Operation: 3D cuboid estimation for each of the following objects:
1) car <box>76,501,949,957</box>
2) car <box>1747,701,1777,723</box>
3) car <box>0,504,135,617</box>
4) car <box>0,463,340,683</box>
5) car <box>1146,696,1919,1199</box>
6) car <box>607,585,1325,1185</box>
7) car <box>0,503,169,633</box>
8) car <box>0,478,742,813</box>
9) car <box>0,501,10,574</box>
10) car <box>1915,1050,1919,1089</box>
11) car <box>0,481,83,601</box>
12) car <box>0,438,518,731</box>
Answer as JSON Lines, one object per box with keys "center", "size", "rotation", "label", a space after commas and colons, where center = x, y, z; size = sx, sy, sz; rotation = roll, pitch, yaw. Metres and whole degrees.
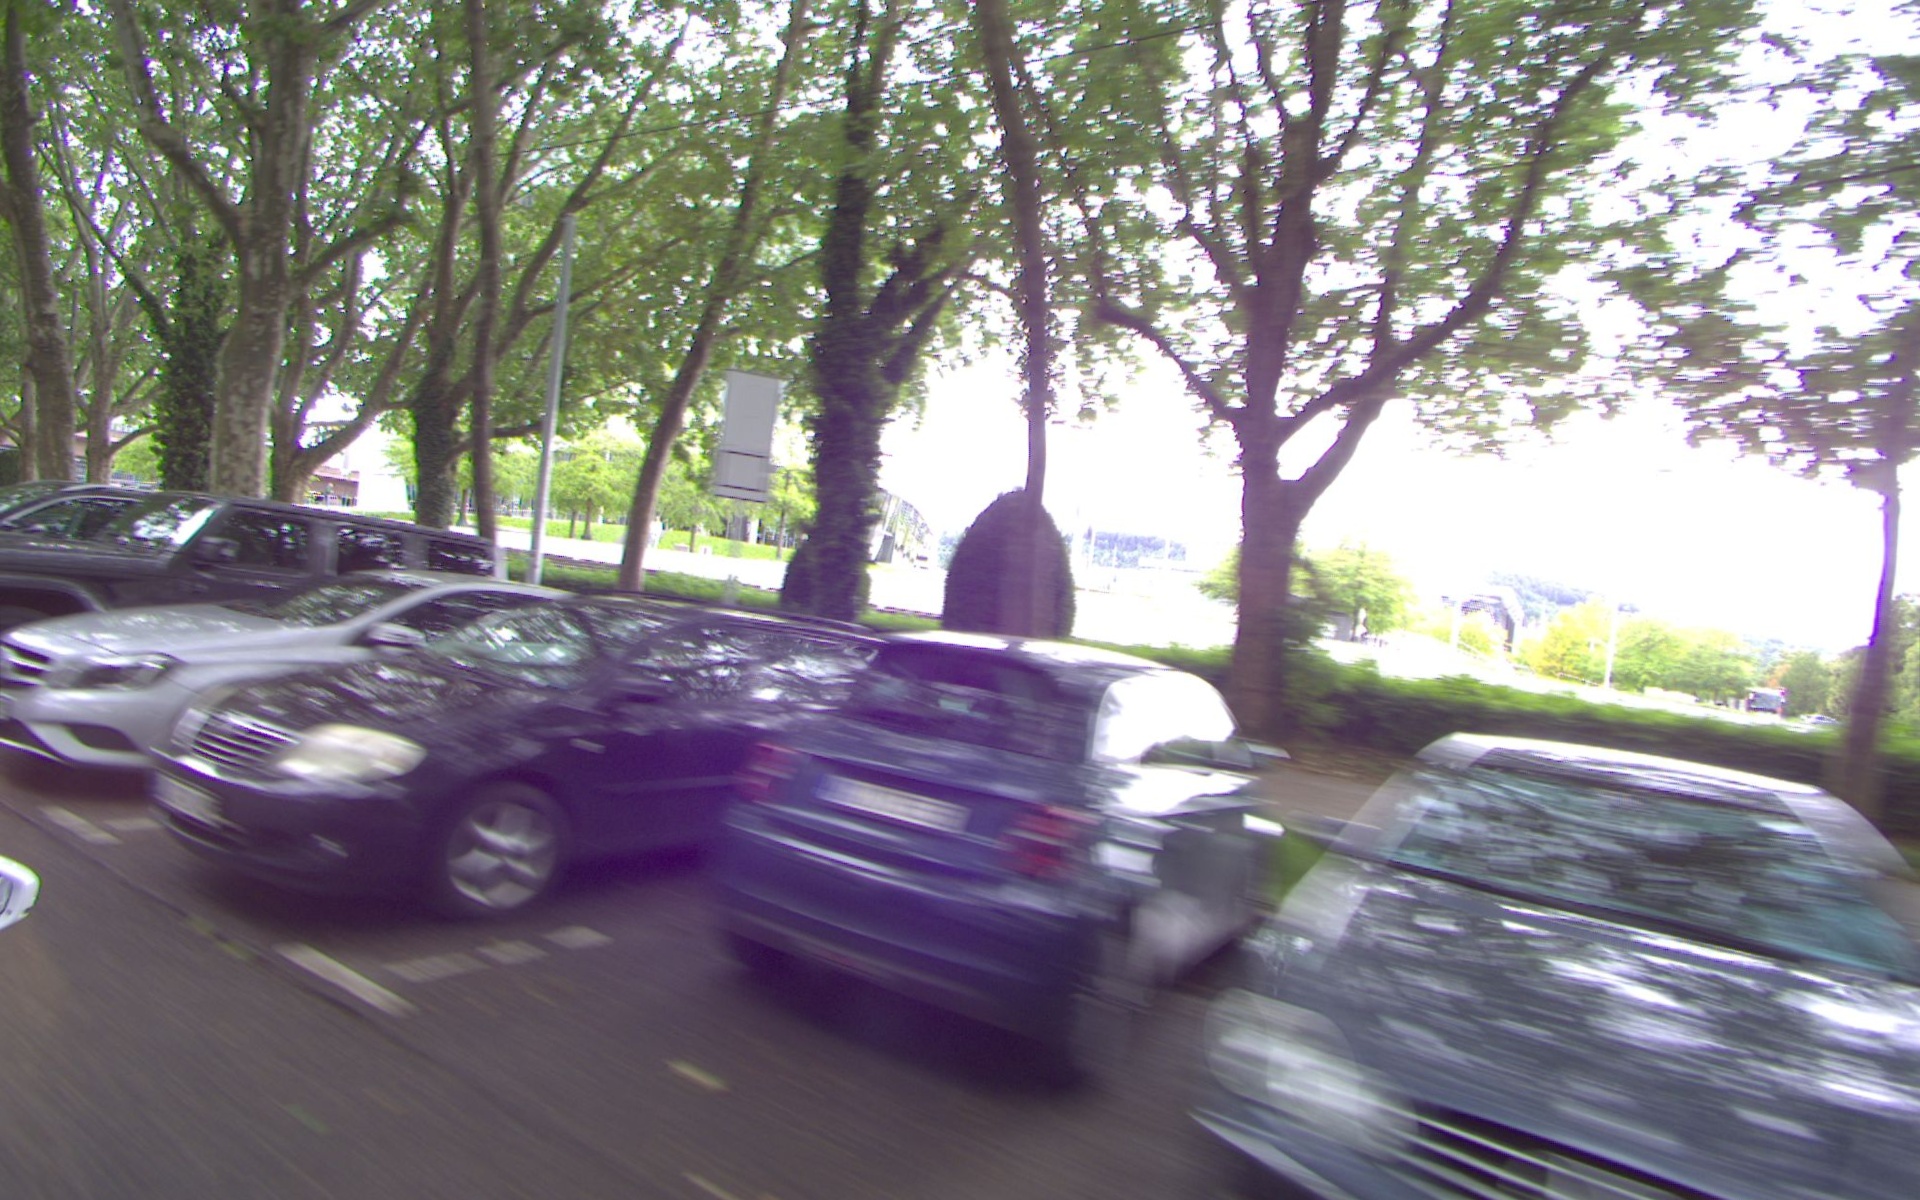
{"center": [-1.984, 0.646, 5.779], "size": [1.755, 1.535, 4.206], "rotation": [6, -3, 31], "label": "car"}
{"center": [86.213, 12.035, 108.195], "size": [1.968, 2.037, 3.992], "rotation": [6, -2, 34], "label": "car"}
{"center": [-14.522, -0.782, 13.835], "size": [1.799, 1.436, 4.503], "rotation": [7, -2, 33], "label": "car"}
{"center": [-8.949, -0.326, 9.691], "size": [2.013, 1.817, 4.505], "rotation": [7, -2, 31], "label": "car"}
{"center": [2.159, 1.232, 3.483], "size": [1.754, 1.472, 4.207], "rotation": [7, -2, 28], "label": "car"}
{"center": [0.541, 1.011, 5.142], "size": [1.754, 1.536, 4.207], "rotation": [7, -2, 28], "label": "car"}
{"center": [-12.785, -0.601, 12.235], "size": [1.900, 1.444, 4.504], "rotation": [7, -2, 32], "label": "car"}
{"center": [-4.028, 0.380, 7.260], "size": [2.015, 1.590, 4.501], "rotation": [7, -2, 35], "label": "car"}
{"center": [-19.006, -1.313, 16.601], "size": [1.891, 1.519, 4.360], "rotation": [8, -2, 26], "label": "car"}
{"center": [4.370, 1.440, 2.453], "size": [1.754, 1.472, 4.207], "rotation": [7, -2, 28], "label": "car"}
{"center": [-16.638, -1.204, 15.219], "size": [2.011, 1.817, 4.510], "rotation": [8, -2, 25], "label": "car"}
{"center": [-6.372, -0.050, 8.343], "size": [2.012, 1.887, 4.508], "rotation": [7, -2, 28], "label": "car"}
